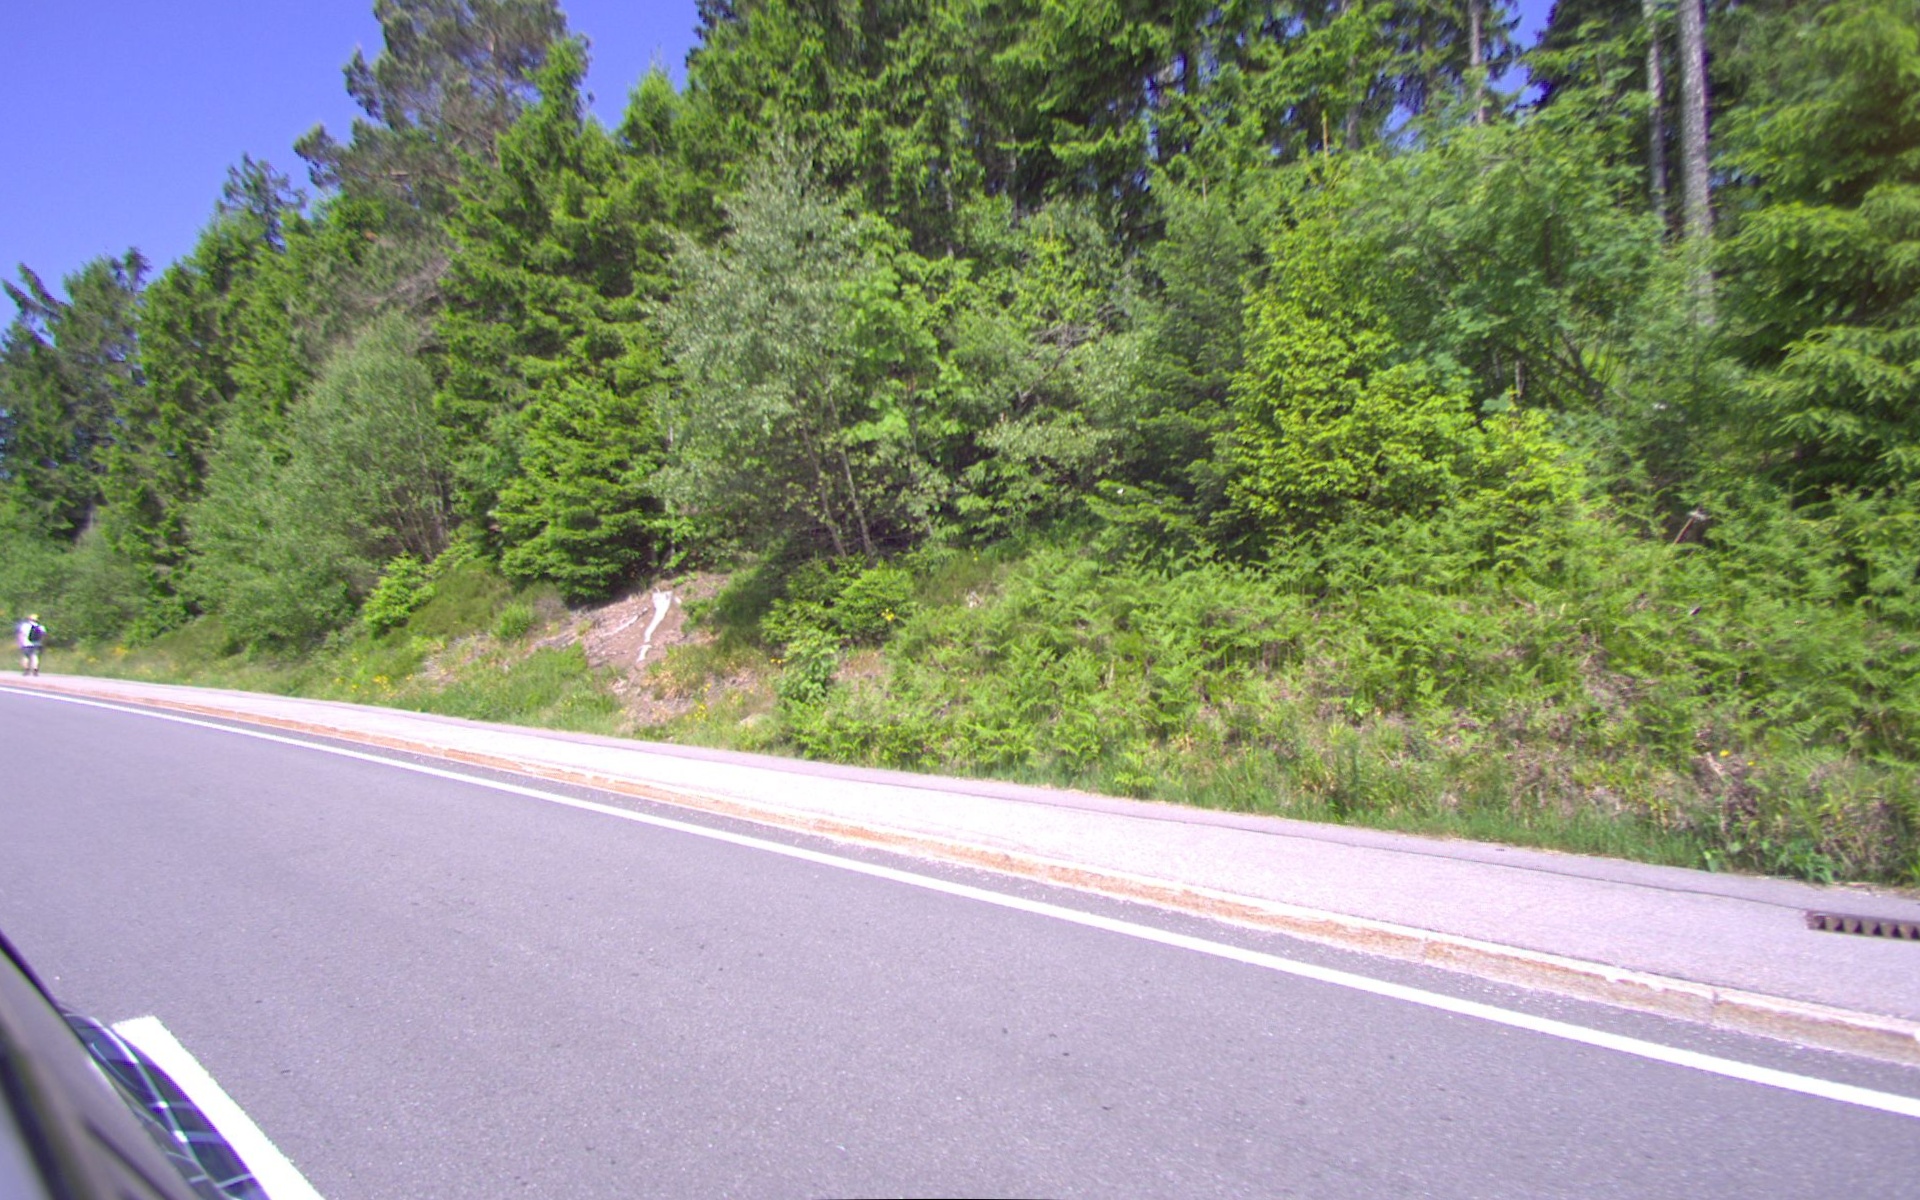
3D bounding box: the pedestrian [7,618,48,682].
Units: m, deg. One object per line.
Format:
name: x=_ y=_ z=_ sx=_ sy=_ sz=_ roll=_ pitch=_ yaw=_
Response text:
pedestrian: x=-26.251 y=1.406 z=28.486 sx=0.822 sy=1.759 sz=0.677 roll=-2 pitch=-1 yaw=32
